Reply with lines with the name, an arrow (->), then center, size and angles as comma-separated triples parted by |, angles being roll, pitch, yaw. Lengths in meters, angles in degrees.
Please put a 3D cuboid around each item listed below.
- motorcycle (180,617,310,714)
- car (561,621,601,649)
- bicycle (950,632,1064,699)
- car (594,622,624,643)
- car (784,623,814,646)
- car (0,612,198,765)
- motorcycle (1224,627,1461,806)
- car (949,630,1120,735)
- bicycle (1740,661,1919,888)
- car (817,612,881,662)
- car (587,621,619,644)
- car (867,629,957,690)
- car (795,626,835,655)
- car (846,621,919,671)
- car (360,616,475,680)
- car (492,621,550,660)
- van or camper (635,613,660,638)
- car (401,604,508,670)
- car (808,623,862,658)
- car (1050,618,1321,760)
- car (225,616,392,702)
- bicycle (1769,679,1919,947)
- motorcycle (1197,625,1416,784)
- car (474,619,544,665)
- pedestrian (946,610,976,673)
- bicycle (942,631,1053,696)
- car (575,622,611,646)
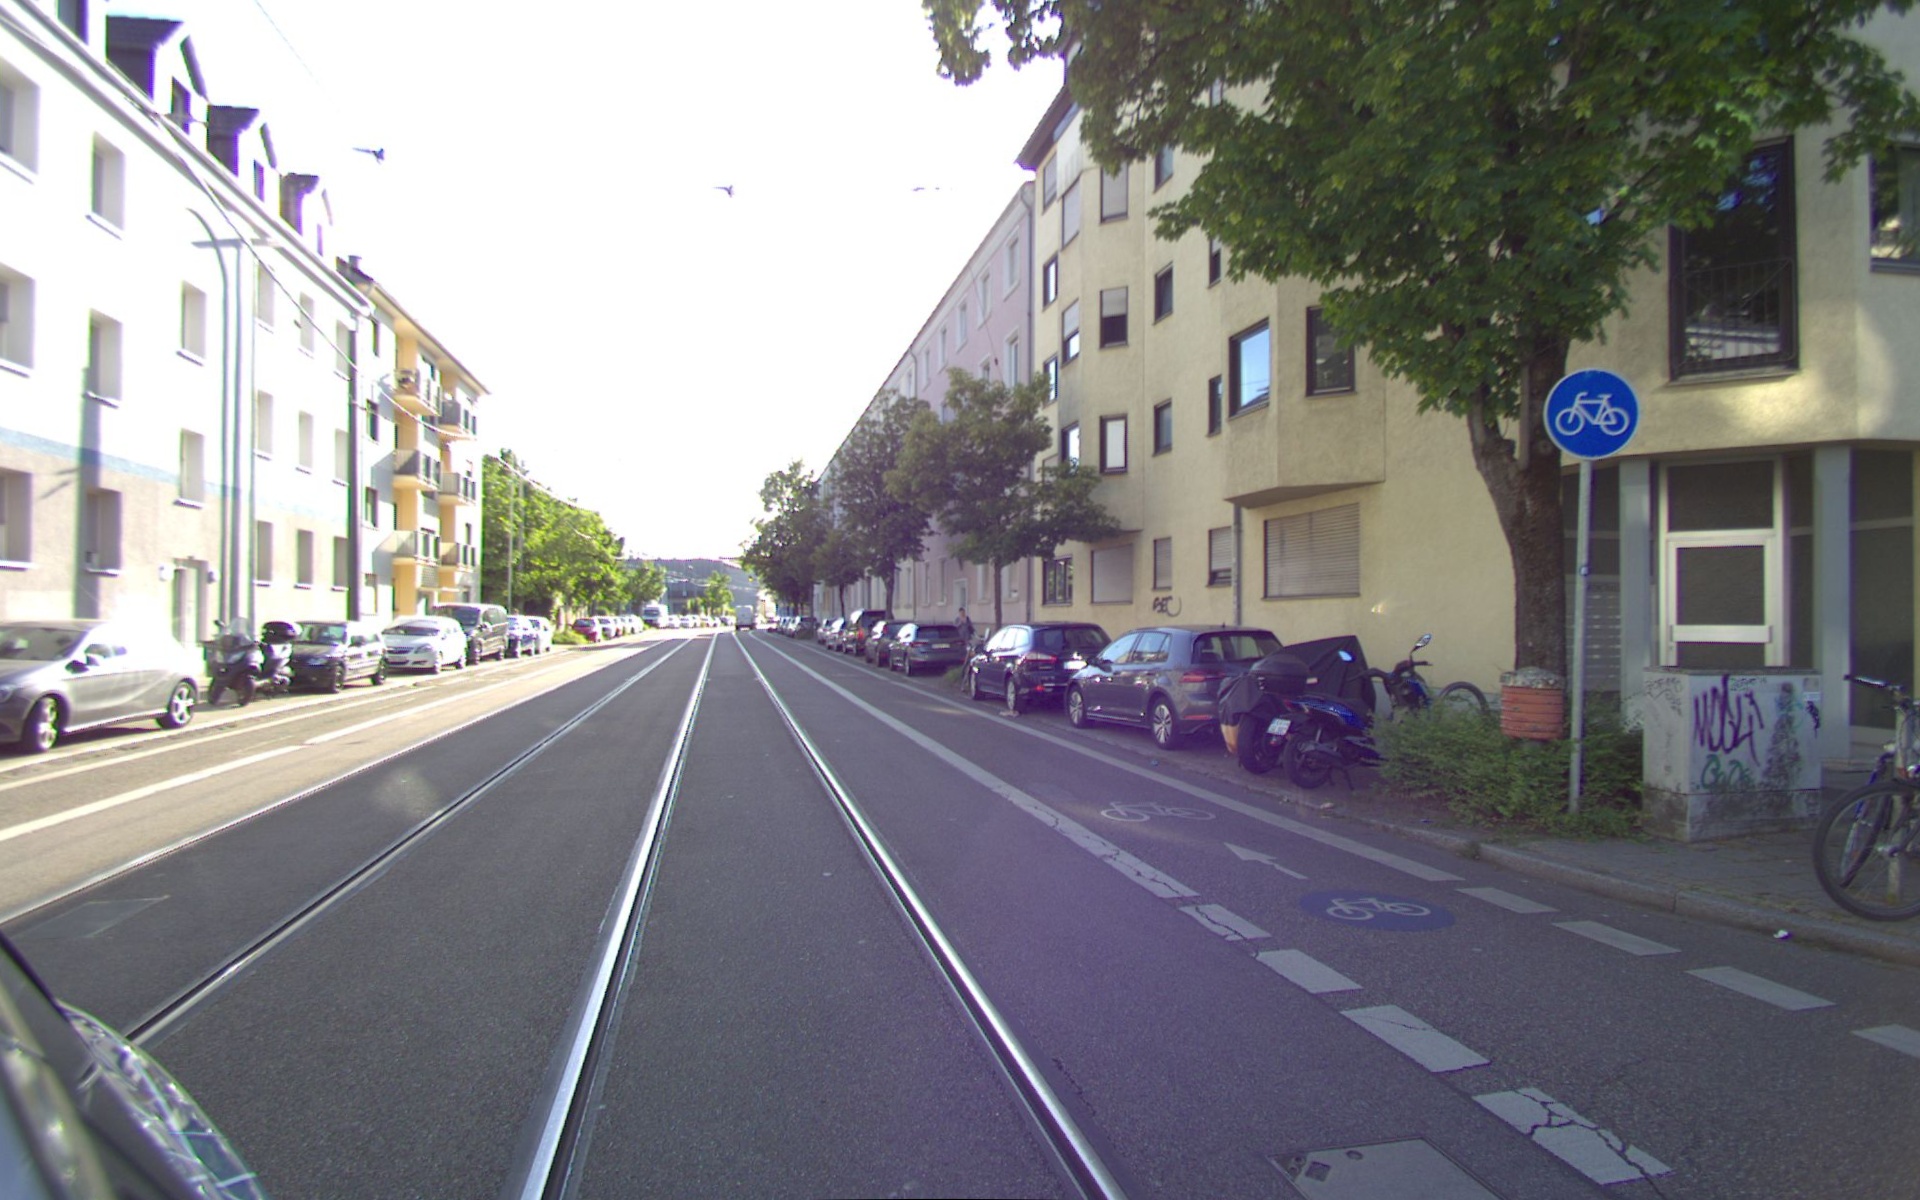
motorcycle -> -12.281, 1.084, 17.512 | 0.794, 1.533, 2.715 | 2, -2, -13
car -> -22.594, 2.053, 60.453 | 1.587, 1.583, 4.489 | 2, -2, -13
bicycle -> 0.969, 1.342, 21.106 | 2.261, 1.344, 0.701 | 0, -1, -13
car -> -27.684, 2.553, 79.953 | 1.799, 1.583, 4.490 | 2, -2, -14
car -> -11.667, 2.463, 73.172 | 1.660, 1.635, 4.060 | 0, -1, -17
car -> -11.224, 0.941, 11.947 | 1.839, 1.566, 4.376 | 2, -2, -12
motorcycle -> 3.377, 0.968, 8.939 | 1.941, 1.458, 0.723 | 0, -1, -20
car -> 1.140, 1.333, 17.975 | 1.741, 1.554, 4.745 | 0, -1, -12
bicycle -> 5.276, 0.893, 5.499 | 1.782, 1.093, 0.597 | 0, -1, -11
car -> -4.559, 1.463, 40.995 | 1.741, 1.859, 4.436 | -2, -1, -16
car -> -26.484, 2.402, 75.096 | 1.799, 1.583, 4.490 | 2, -2, -14
car -> -1.461, 1.643, 29.024 | 1.741, 1.484, 4.052 | -2, -1, -14
car -> -7.975, 2.173, 55.406 | 1.741, 1.484, 4.764 | 0, -1, -13
car -> -2.659, 1.483, 33.908 | 1.741, 1.484, 4.191 | -2, -1, -13
car -> -14.501, 1.252, 27.275 | 1.776, 1.583, 3.914 | 2, -2, -14
car -> -18.318, 1.666, 42.368 | 1.532, 1.554, 3.641 | 2, -2, -13
van or camper -> -34.053, 2.738, 110.437 | 2.058, 2.583, 5.707 | 0, -1, -12
car -> -16.338, 1.171, 32.993 | 1.903, 1.936, 5.016 | 2, -2, -12
car -> -5.750, 1.802, 46.110 | 1.741, 1.484, 4.872 | 0, -1, -15
car -> 2.737, 1.025, 13.340 | 1.711, 1.554, 4.141 | 0, -1, -16
car -> -13.309, 1.157, 20.946 | 1.587, 1.583, 3.913 | 2, -2, -12
bicycle -> 4.887, 0.934, 4.774 | 1.852, 1.093, 0.597 | 0, -1, -11
motorcycle -> 3.434, 0.984, 10.052 | 1.941, 1.458, 0.839 | 0, -1, -20
car -> -16.909, 1.548, 38.127 | 1.587, 1.583, 4.229 | 2, -2, -13
pedestrian -> 0.024, 1.250, 30.851 | 0.683, 1.877, 0.913 | 0, -1, -14
bicycle -> 0.805, 1.352, 21.821 | 2.261, 1.344, 0.701 | 0, -1, -13
car -> -25.357, 2.343, 70.041 | 1.799, 1.583, 4.490 | 2, -2, -14
